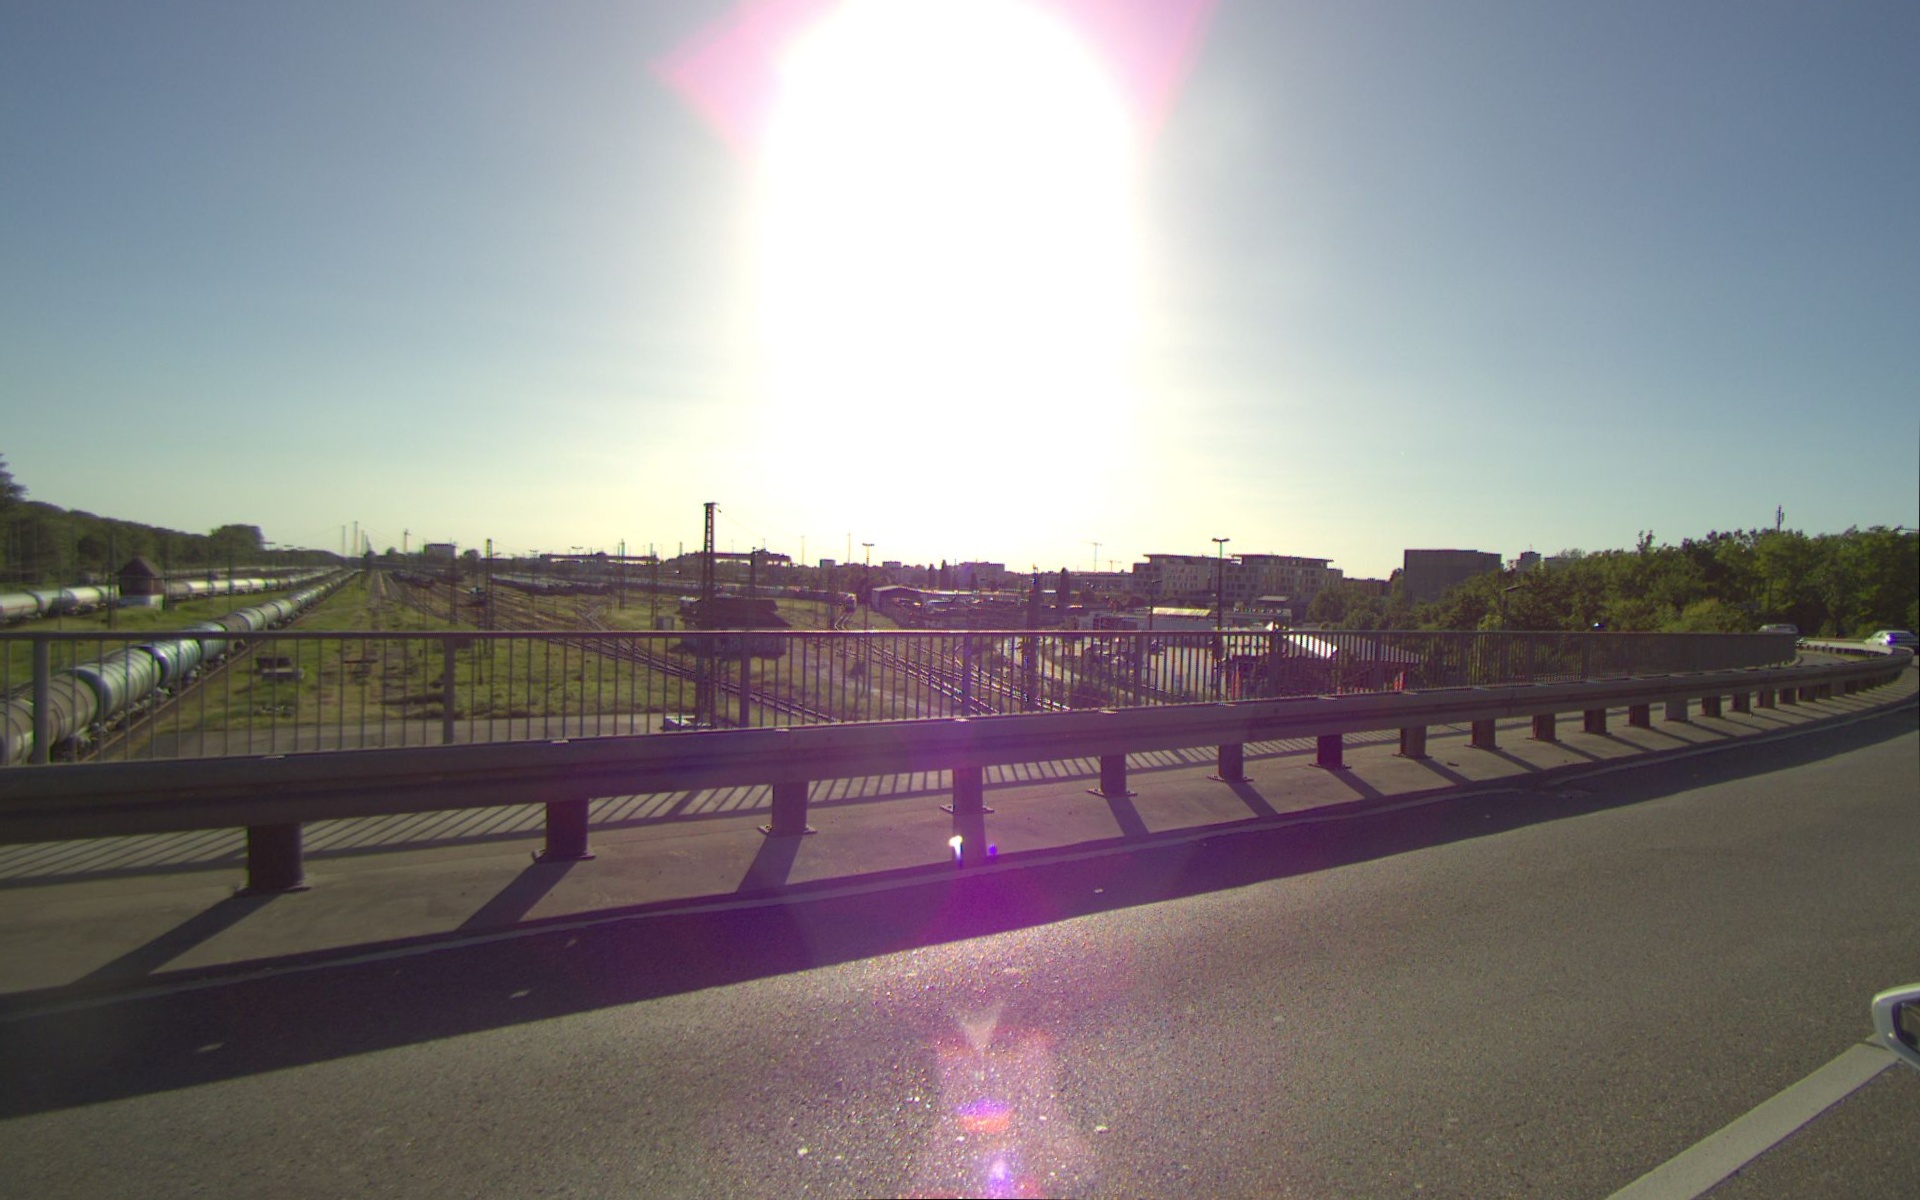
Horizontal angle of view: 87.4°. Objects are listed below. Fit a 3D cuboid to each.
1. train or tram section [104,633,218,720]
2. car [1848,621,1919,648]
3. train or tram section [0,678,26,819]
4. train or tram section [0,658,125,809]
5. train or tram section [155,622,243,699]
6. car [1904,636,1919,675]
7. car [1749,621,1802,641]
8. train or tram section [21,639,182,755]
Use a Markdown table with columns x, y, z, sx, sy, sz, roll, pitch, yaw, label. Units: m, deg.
| x | y | z | sx | sy | sz | roll | pitch | yaw | label |
| --- | --- | --- | --- | --- | --- | --- | --- | --- | --- |
| -56.190 | 5.077 | 71.202 | 3.860 | 5.083 | 16.235 | 1 | -1 | -30 | train or tram section |
| 58.413 | 2.135 | 63.514 | 1.828 | 1.606 | 3.916 | 1 | -1 | 15 | car |
| -31.693 | 5.137 | 28.526 | 3.860 | 4.652 | 16.634 | 1 | -1 | -30 | train or tram section |
| -39.879 | 5.224 | 42.757 | 3.860 | 4.652 | 16.181 | 1 | -1 | -30 | train or tram section |
| -64.300 | 4.850 | 85.377 | 3.860 | 5.592 | 16.372 | 1 | -1 | -30 | train or tram section |
| 39.436 | 2.253 | 39.963 | 1.809 | 1.539 | 3.764 | 1 | -1 | 28 | car |
| 66.654 | 2.496 | 82.151 | 1.804 | 1.576 | 3.895 | 1 | -1 | 14 | car |
| -48.031 | 5.052 | 56.961 | 3.860 | 5.083 | 16.533 | 1 | -1 | -30 | train or tram section |
